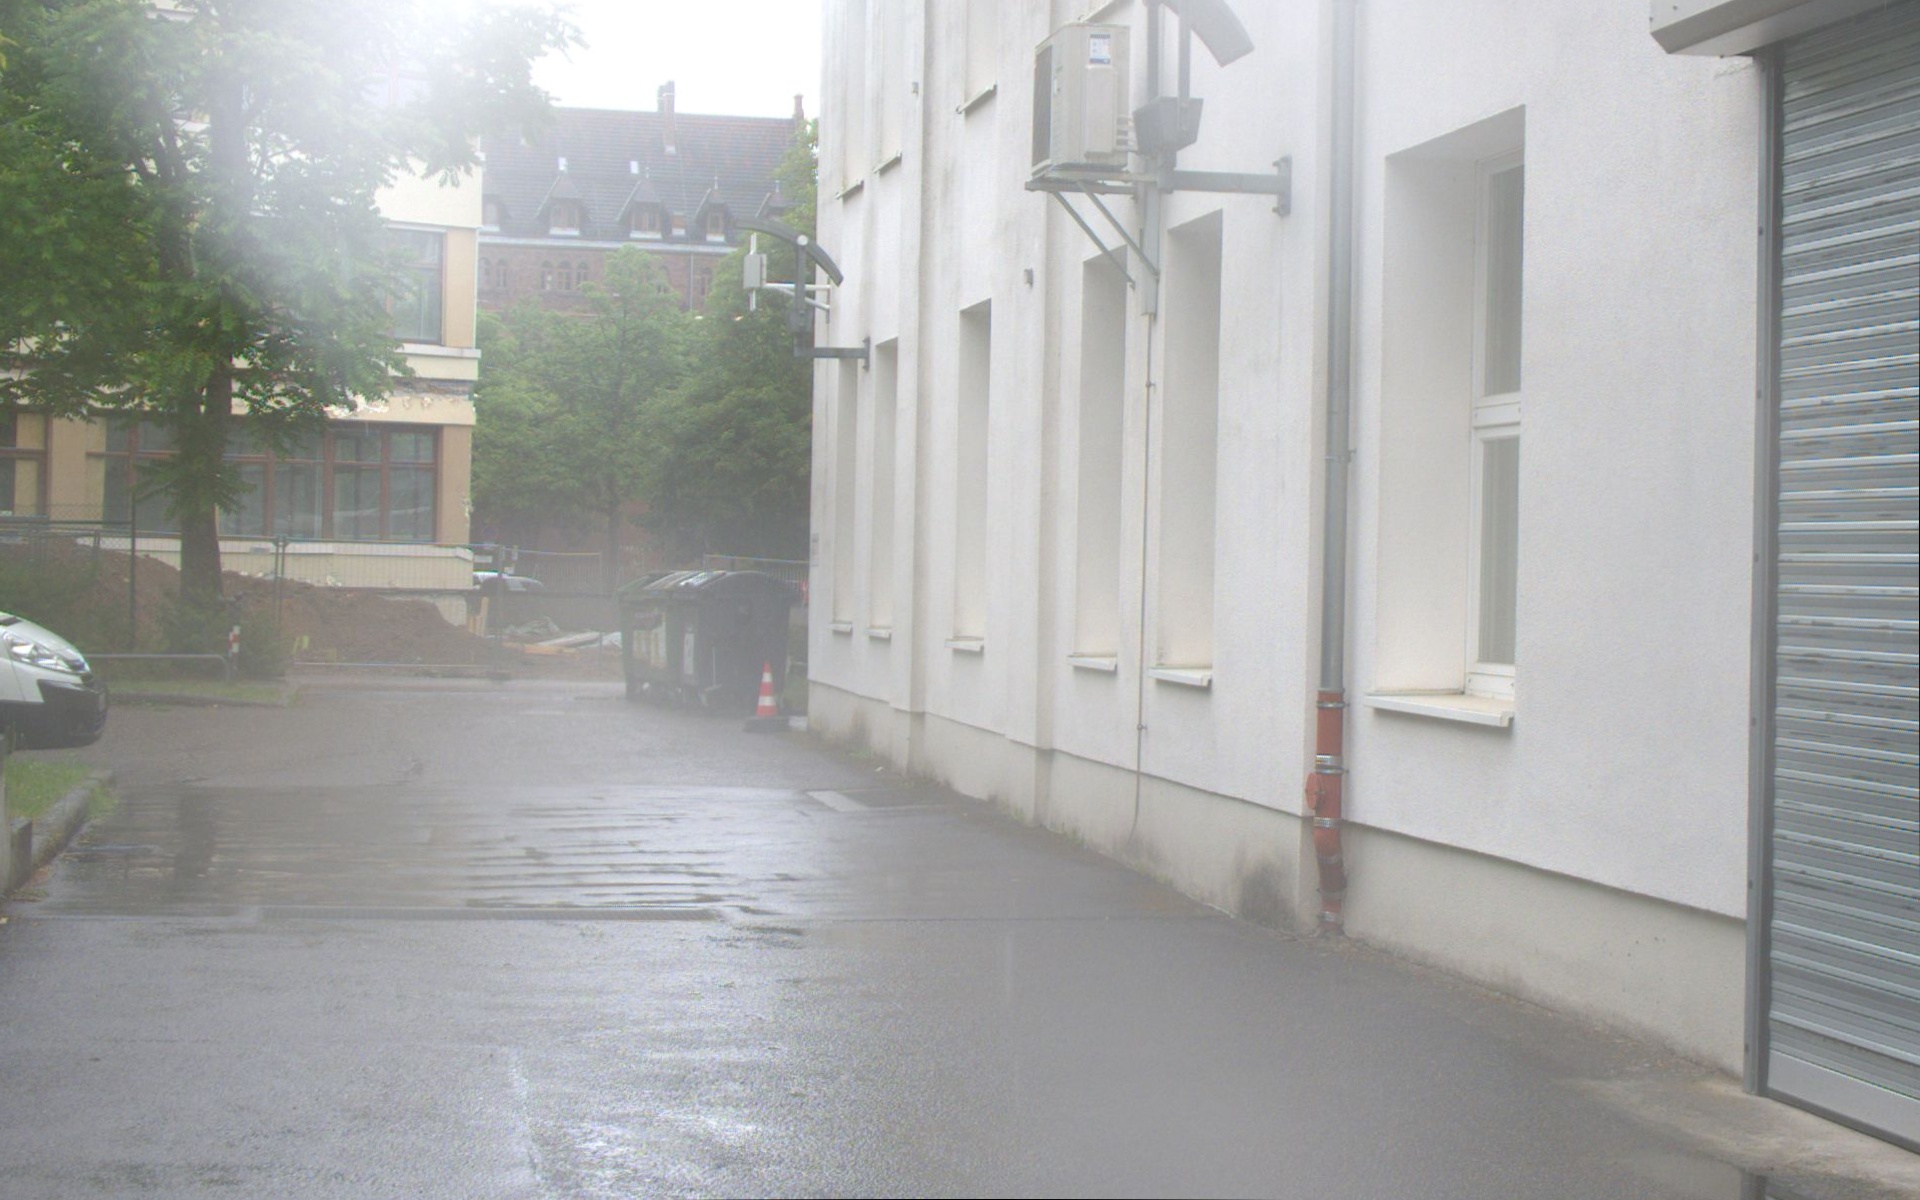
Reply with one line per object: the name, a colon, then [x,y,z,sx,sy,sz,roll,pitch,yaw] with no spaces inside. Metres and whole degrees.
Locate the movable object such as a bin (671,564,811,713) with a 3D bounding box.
movable object such as a bin: [-2.206,0.397,34.471,1.214,1.432,1.236,2,-2,-12]

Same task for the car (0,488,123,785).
car: [-8.383,0.209,23.965,4.779,2.007,2.001,0,1,-9]

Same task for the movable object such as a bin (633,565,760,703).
movable object such as a bin: [-2.901,0.387,37.726,1.214,1.463,1.236,2,-2,-12]

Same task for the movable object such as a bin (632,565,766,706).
movable object such as a bin: [-2.751,0.383,36.093,1.214,1.432,1.294,2,-2,-12]

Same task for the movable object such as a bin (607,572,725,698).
movable object such as a bin: [-3.466,0.421,40.425,1.214,1.432,1.259,2,-2,-12]

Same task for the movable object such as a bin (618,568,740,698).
movable object such as a bin: [-3.203,0.386,39.071,1.214,1.432,1.259,2,-2,-12]
